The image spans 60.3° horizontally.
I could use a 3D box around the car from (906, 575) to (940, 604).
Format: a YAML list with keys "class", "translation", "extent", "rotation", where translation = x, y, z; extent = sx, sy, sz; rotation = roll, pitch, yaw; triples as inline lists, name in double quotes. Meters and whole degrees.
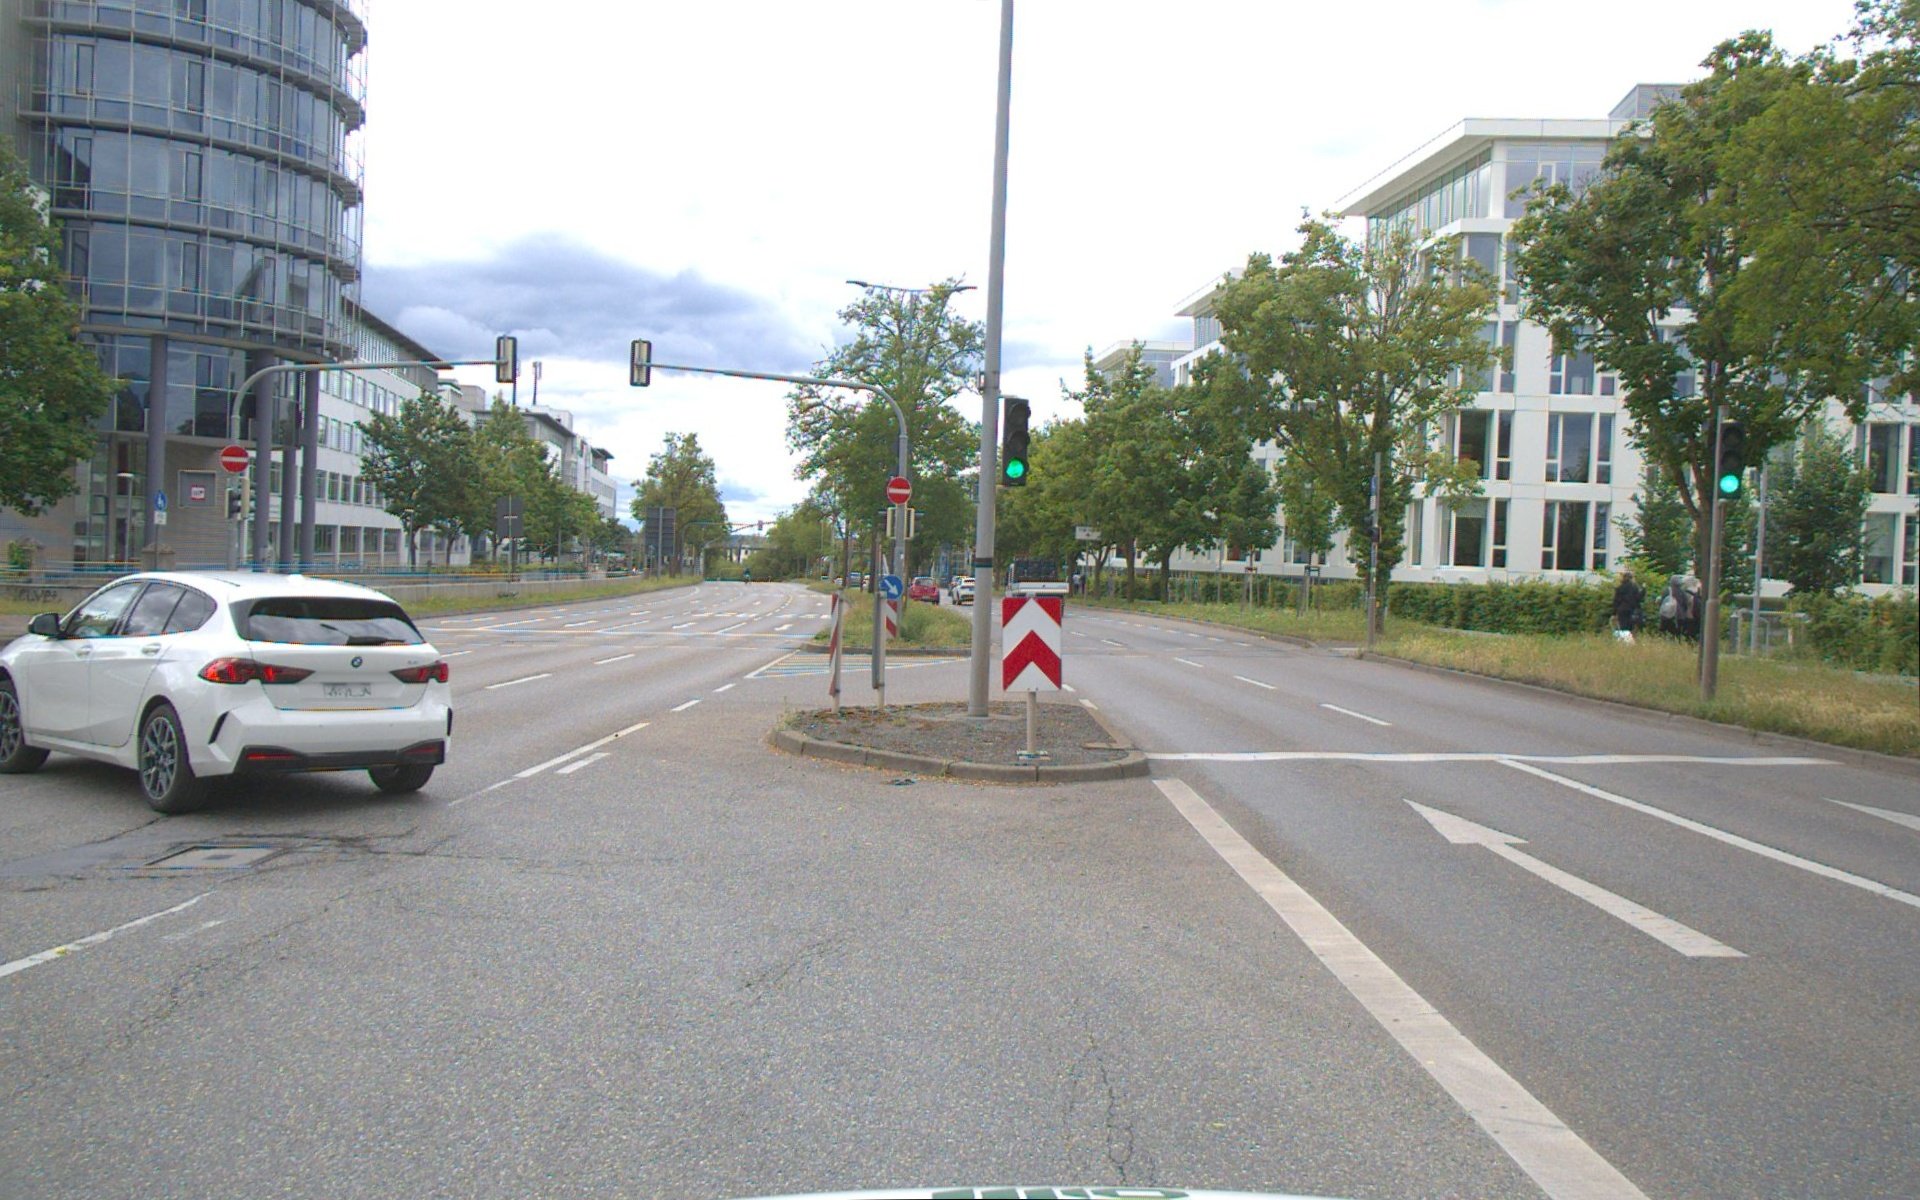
- class: "car"
  translation: [-2.072, -0.594, 91.991]
  extent: [1.682, 1.585, 3.854]
  rotation: [0, 0, -4]

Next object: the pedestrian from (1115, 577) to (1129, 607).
- class: "pedestrian"
  translation: [11.381, -0.566, 116.079]
  extent: [0.834, 2.049, 0.603]
  rotation: [1, 0, -13]

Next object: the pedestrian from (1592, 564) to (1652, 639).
- class: "pedestrian"
  translation: [13.364, 0.026, 33.424]
  extent: [0.773, 1.473, 1.112]
  rotation: [1, 0, 1]

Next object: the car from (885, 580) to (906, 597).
- class: "car"
  translation: [-6.363, -1.098, 161.838]
  extent: [1.819, 1.624, 4.309]
  rotation: [1, 0, -6]

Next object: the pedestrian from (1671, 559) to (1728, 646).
- class: "pedestrian"
  translation: [14.892, 0.057, 33.334]
  extent: [0.751, 1.715, 0.883]
  rotation: [1, 0, 1]

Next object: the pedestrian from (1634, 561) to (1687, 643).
- class: "pedestrian"
  translation: [14.143, 0.042, 33.390]
  extent: [0.685, 1.623, 0.883]
  rotation: [1, 0, 1]

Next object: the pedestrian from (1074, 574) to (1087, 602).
- class: "pedestrian"
  translation: [9.126, -0.914, 125.192]
  extent: [0.749, 2.049, 0.751]
  rotation: [1, 0, -13]

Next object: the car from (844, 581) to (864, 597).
- class: "car"
  translation: [-10.901, -1.116, 170.231]
  extent: [1.855, 1.623, 4.307]
  rotation: [2, 0, -7]

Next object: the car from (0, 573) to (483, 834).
- class: "car"
  translation: [-5.208, 0.587, 11.540]
  extent: [3.929, 1.463, 1.817]
  rotation: [2, 0, 42]

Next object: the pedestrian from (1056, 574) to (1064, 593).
- class: "pedestrian"
  translation: [8.552, -1.416, 141.013]
  extent: [0.551, 1.586, 0.555]
  rotation: [1, 0, -9]

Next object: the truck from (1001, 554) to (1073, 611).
- class: "truck"
  translation: [3.158, -0.721, 69.137]
  extent: [2.169, 2.242, 5.837]
  rotation: [1, 0, -6]

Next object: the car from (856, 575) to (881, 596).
- class: "car"
  translation: [-7.315, -1.188, 132.390]
  extent: [1.819, 1.624, 4.309]
  rotation: [1, 0, -6]

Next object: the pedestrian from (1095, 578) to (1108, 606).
- class: "pedestrian"
  translation: [10.595, -0.617, 123.537]
  extent: [0.749, 2.049, 0.751]
  rotation: [1, 0, -13]

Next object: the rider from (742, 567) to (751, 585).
- class: "rider"
  translation: [-22.296, -2.480, 172.869]
  extent: [0.829, 1.802, 0.807]
  rotation: [1, 0, -4]

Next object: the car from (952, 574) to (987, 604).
- class: "car"
  translation: [0.521, -0.623, 93.058]
  extent: [1.681, 1.583, 4.087]
  rotation: [1, 0, -3]
